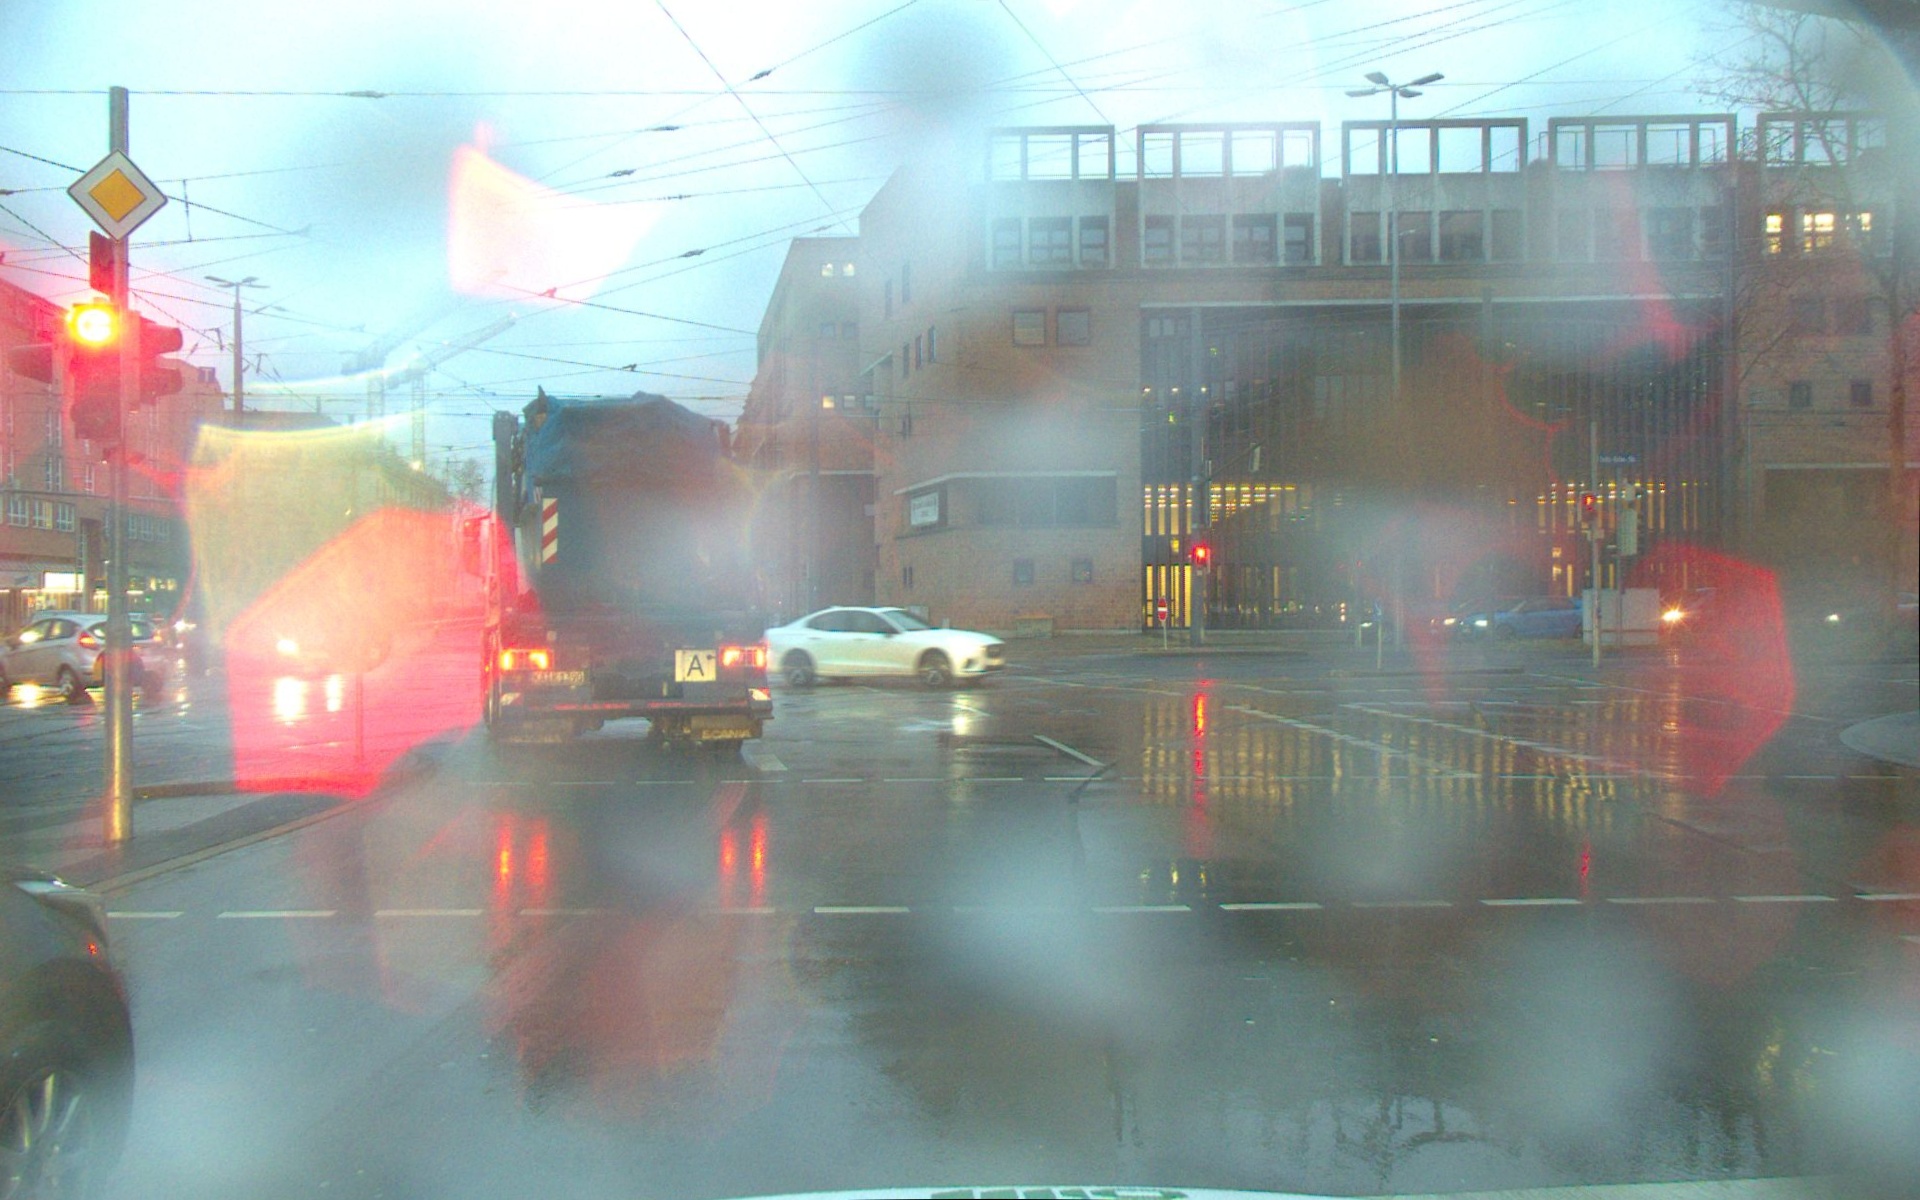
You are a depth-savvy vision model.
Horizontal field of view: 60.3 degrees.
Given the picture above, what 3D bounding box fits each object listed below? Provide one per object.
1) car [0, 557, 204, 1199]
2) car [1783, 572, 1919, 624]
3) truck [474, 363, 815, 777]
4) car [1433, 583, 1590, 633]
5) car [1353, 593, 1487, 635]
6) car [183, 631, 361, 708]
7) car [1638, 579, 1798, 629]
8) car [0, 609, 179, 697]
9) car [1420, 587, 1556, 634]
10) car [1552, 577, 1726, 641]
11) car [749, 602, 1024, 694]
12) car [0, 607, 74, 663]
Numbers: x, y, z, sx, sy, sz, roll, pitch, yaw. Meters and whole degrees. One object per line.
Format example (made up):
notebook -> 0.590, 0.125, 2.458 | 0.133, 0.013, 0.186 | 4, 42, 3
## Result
car -> -2.595, 0.732, 1.944 | 1.596, 1.550, 3.942 | -1, 1, 0
car -> 29.332, -0.072, 54.121 | 3.910, 1.530, 1.846 | -1, 4, -7
truck -> -3.900, -0.282, 18.774 | 2.796, 3.697, 7.486 | -1, 0, -19
car -> 15.975, 0.216, 48.044 | 3.910, 1.284, 1.846 | -1, 4, -7
car -> 15.537, 0.459, 55.951 | 3.909, 1.333, 1.998 | -1, 0, -5
car -> -16.404, 1.592, 39.302 | 2.237, 1.635, 4.921 | -1, 0, -44
car -> 22.347, 0.100, 48.848 | 3.910, 1.310, 1.846 | -1, 4, -7
car -> -16.120, 0.930, 29.971 | 3.914, 1.473, 1.707 | -1, 0, 32
car -> 16.602, 0.325, 52.140 | 3.649, 1.284, 1.846 | -1, 4, -7
car -> 18.227, 0.213, 44.499 | 3.910, 1.530, 1.846 | -1, 4, -7
car -> -1.374, 0.875, 30.923 | 4.721, 1.588, 2.050 | -1, 0, 24
car -> -28.629, 1.032, 50.202 | 4.009, 1.579, 1.986 | -1, 0, 45
